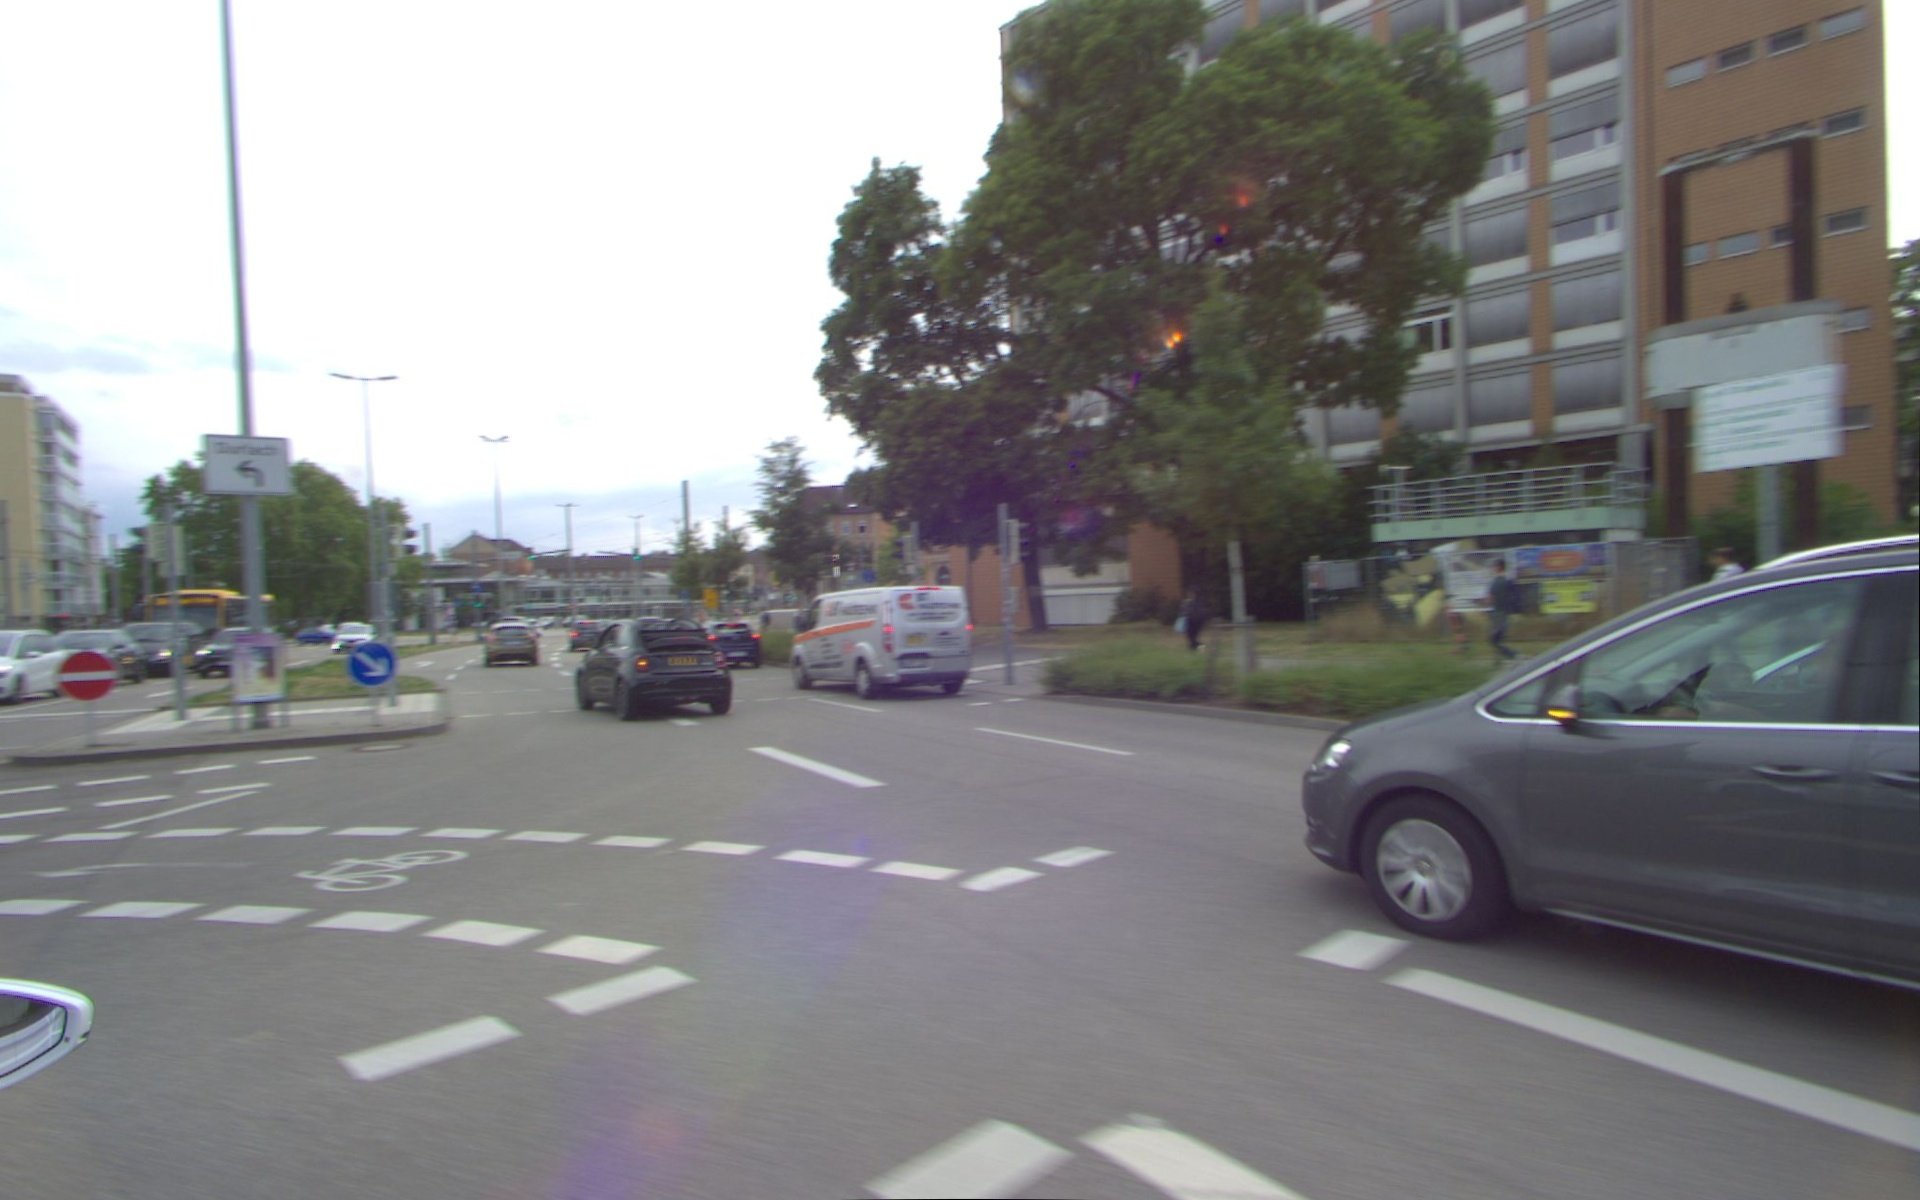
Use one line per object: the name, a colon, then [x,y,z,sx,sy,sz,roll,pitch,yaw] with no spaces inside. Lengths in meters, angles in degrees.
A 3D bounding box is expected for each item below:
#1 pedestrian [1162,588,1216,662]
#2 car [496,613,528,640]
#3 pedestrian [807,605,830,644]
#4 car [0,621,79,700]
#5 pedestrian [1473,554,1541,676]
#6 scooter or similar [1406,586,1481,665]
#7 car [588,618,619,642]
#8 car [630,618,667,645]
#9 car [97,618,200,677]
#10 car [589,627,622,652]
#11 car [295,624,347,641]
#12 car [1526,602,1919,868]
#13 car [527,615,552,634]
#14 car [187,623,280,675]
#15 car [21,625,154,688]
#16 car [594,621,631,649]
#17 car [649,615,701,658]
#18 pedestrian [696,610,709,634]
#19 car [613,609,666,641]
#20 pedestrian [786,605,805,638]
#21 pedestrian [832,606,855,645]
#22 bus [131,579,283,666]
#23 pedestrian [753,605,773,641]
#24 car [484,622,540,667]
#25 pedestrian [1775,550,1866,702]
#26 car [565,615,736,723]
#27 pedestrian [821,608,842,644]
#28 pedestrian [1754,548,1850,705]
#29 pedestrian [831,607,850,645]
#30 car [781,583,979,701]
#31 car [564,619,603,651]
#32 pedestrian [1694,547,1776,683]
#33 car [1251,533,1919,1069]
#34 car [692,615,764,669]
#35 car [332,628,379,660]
pedestrian: [5.100,0.550,22.262,0.771,1.595,0.806,-4,1,-39]
car: [-28.609,1.692,64.024,1.810,1.635,3.536,0,-2,-23]
pedestrian: [-5.942,1.029,42.075,0.766,1.595,0.811,-3,1,-16]
car: [-21.954,1.354,22.724,1.970,1.672,4.272,0,-2,-28]
pedestrian: [8.653,0.236,15.847,0.632,1.877,0.702,-3,1,-39]
scooter or similar: [8.654,0.464,17.930,1.134,1.388,0.396,-2,-1,38]
car: [-22.411,1.916,62.911,1.688,1.438,3.990,0,-2,-22]
car: [-17.377,1.774,55.736,1.681,1.438,3.691,0,-2,-22]
car: [-28.126,1.616,34.859,1.970,1.923,4.272,0,-2,-28]
car: [-20.809,2.307,58.655,1.688,1.438,3.339,0,-2,-22]
car: [-51.333,2.627,80.447,3.219,1.242,1.403,-2,0,-3]
car: [6.191,0.763,6.039,1.803,1.493,4.496,0,-2,-37]
car: [-33.062,1.967,78.812,1.688,1.438,3.990,0,-2,-22]
car: [-25.031,1.658,34.676,1.970,1.672,4.493,0,-2,-28]
car: [-25.130,1.590,29.021,1.970,1.672,4.272,0,-2,-28]
car: [-18.634,1.860,53.626,1.688,1.438,3.990,0,-2,-22]
car: [-10.986,1.387,38.702,1.830,1.552,3.997,0,-2,-15]
pedestrian: [-18.044,1.524,70.213,0.766,1.595,0.811,-3,1,-16]
car: [-15.135,1.197,47.202,2.104,1.438,3.691,0,-2,-22]
pedestrian: [-8.148,1.058,49.672,0.766,1.595,0.811,-3,1,-16]
pedestrian: [-4.892,1.056,42.051,0.766,1.595,0.811,-3,1,-16]
bus: [-32.760,1.056,44.170,3.110,3.296,12.366,0,-2,-26]
pedestrian: [-9.060,1.044,46.074,0.766,1.595,0.811,-3,1,-16]
car: [-15.441,1.514,34.453,1.674,1.422,3.687,0,-2,-25]
pedestrian: [10.263,0.311,11.943,0.633,1.733,0.702,0,-1,-39]
car: [-5.054,1.038,16.097,1.650,1.508,3.418,-1,-1,-35]
pedestrian: [-5.860,1.187,45.671,0.766,1.595,0.811,-3,1,-16]
pedestrian: [9.678,0.294,11.506,0.632,1.734,0.702,-3,1,-39]
pedestrian: [-5.023,1.093,42.102,0.542,1.557,0.547,-2,1,28]
car: [-1.741,0.791,19.510,1.799,1.984,5.179,0,-2,-30]
car: [-18.157,1.685,48.283,1.687,1.438,3.991,0,-2,-21]
pedestrian: [10.272,0.201,13.281,0.632,1.733,0.702,-2,0,-39]
car: [3.566,0.642,3.809,1.738,1.672,4.654,0,-2,-36]
car: [-7.121,1.258,30.541,1.643,1.527,3.625,0,-2,-21]
car: [-33.559,2.430,55.693,1.970,1.672,4.493,0,-2,-28]
